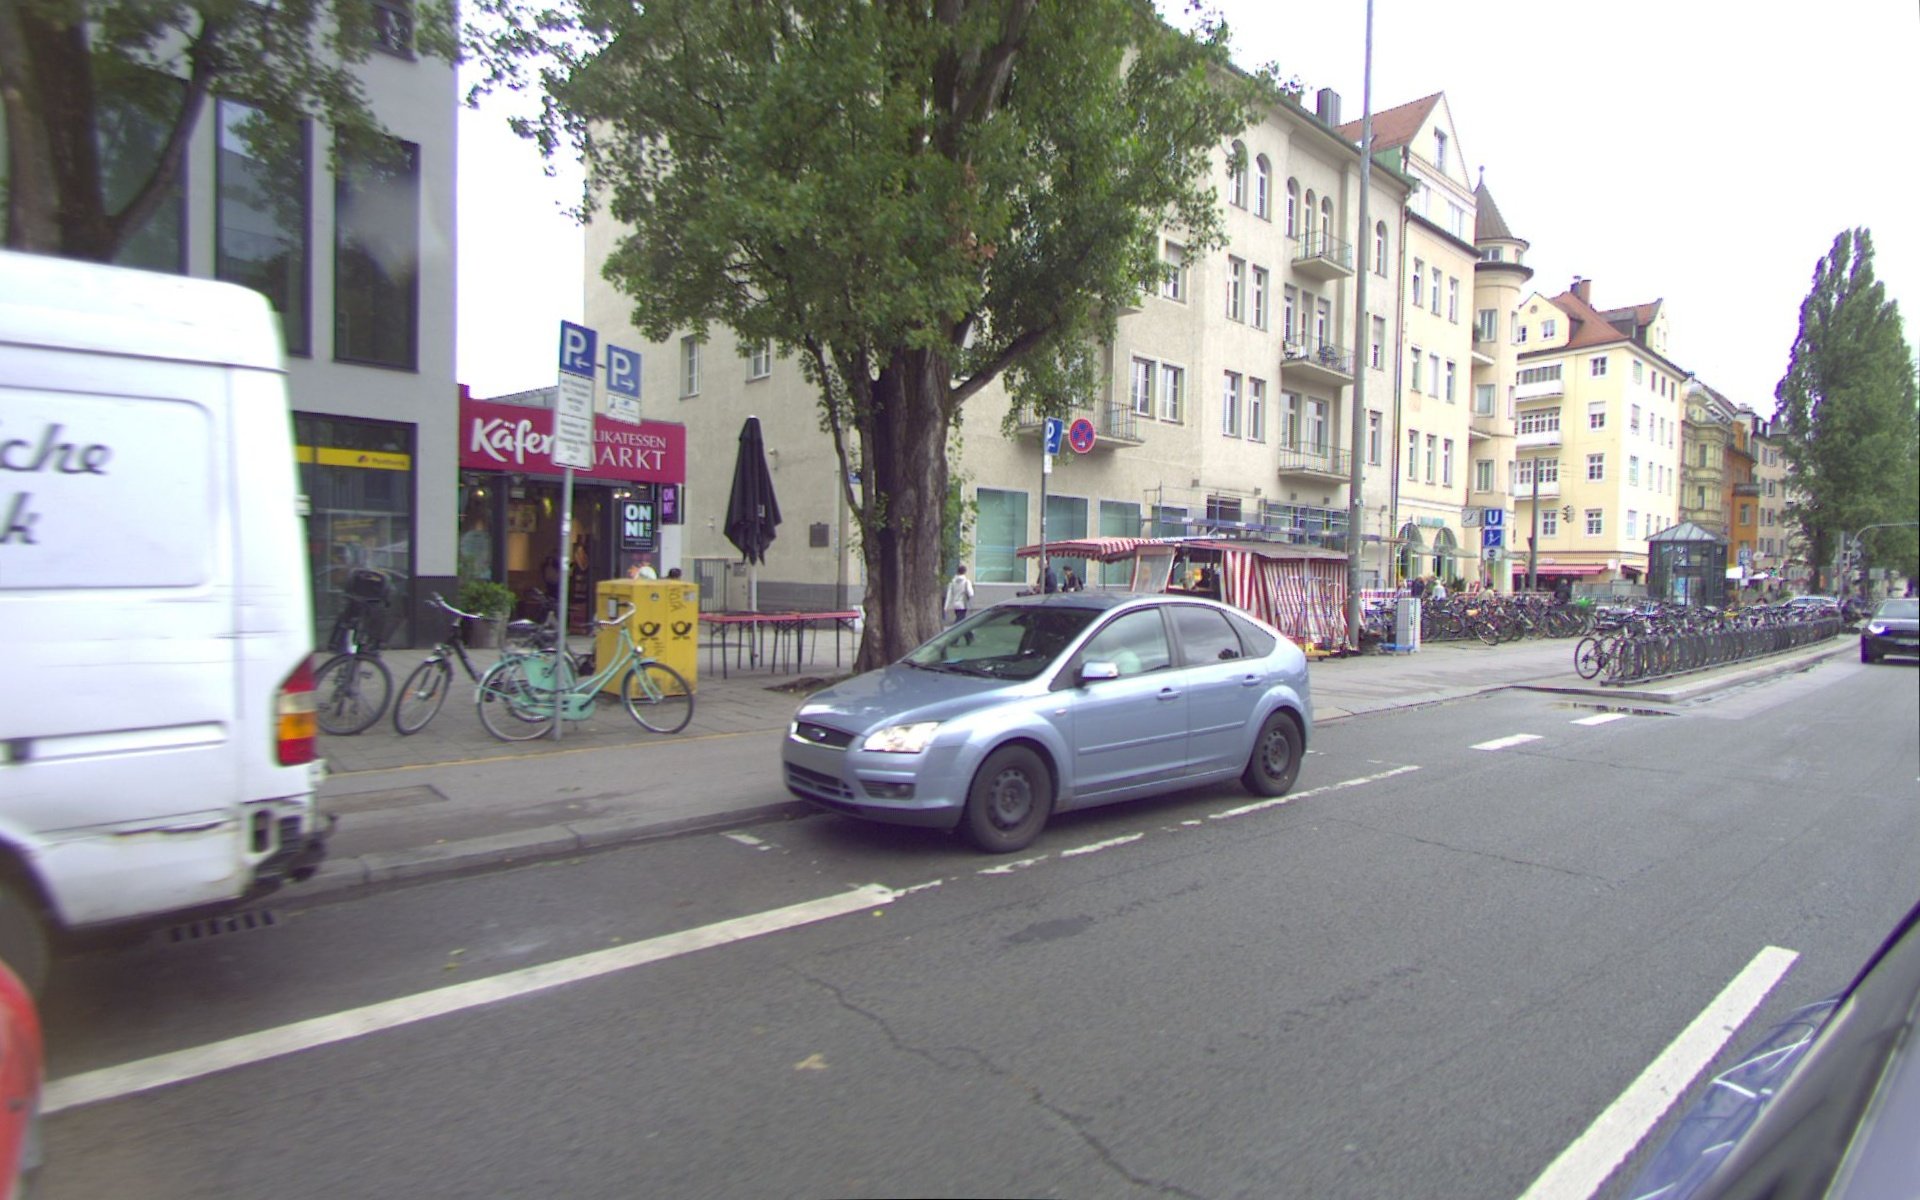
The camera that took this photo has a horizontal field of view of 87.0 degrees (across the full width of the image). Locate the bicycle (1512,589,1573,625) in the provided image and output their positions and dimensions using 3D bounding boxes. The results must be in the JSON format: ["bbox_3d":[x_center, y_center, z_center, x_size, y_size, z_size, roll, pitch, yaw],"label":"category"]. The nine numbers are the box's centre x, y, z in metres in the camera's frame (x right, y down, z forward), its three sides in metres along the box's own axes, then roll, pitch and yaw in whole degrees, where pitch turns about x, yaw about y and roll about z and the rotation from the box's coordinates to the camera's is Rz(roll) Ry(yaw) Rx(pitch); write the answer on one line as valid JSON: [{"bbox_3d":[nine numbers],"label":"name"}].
[{"bbox_3d":[19.123,0.224,33.257,0.403,1.091,1.651,0,3,-39],"label":"bicycle"}]

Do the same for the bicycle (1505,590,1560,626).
[{"bbox_3d":[18.350,0.244,32.471,1.448,1.091,0.404,4,3,43],"label":"bicycle"}]

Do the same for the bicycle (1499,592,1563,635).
[{"bbox_3d":[15.614,0.363,27.700,1.446,1.091,0.404,4,3,40],"label":"bicycle"}]

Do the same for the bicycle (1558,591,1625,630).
[{"bbox_3d":[19.459,0.313,31.200,0.403,1.091,1.653,0,3,-43],"label":"bicycle"}]

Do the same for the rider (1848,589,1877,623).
[{"bbox_3d":[34.792,0.232,39.031,0.721,1.256,0.730,-1,4,-45],"label":"rider"}]

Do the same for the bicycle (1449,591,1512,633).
[{"bbox_3d":[14.928,0.329,29.054,1.530,1.091,0.404,4,3,41],"label":"bicycle"}]

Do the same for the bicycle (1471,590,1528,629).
[{"bbox_3d":[16.463,0.284,30.921,1.446,1.091,0.404,4,3,40],"label":"bicycle"}]

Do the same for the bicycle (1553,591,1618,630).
[{"bbox_3d":[19.102,0.320,30.932,0.403,1.091,1.603,0,3,-43],"label":"bicycle"}]

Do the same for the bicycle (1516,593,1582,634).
[{"bbox_3d":[16.837,0.371,28.939,0.403,1.091,1.537,0,3,-43],"label":"bicycle"}]

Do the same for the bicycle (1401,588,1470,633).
[{"bbox_3d":[12.966,0.262,27.624,1.626,1.116,0.404,4,3,39],"label":"bicycle"}]

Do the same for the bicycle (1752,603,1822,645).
[{"bbox_3d":[22.022,0.640,26.988,0.390,1.073,1.850,0,-2,3],"label":"bicycle"}]

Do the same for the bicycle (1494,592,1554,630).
[{"bbox_3d":[17.452,0.321,31.344,0.403,1.091,1.528,0,3,-43],"label":"bicycle"}]

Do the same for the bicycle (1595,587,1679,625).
[{"bbox_3d":[23.869,0.187,35.727,0.617,1.242,2.343,0,2,-39],"label":"bicycle"}]

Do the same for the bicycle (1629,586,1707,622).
[{"bbox_3d":[26.532,0.147,37.962,0.617,1.242,2.318,0,2,-39],"label":"bicycle"}]

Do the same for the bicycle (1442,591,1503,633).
[{"bbox_3d":[14.491,0.339,28.642,1.446,1.091,0.404,4,3,40],"label":"bicycle"}]

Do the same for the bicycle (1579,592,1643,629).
[{"bbox_3d":[20.413,0.328,31.743,1.727,1.091,0.410,2,2,-2],"label":"bicycle"}]

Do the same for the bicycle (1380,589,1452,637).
[{"bbox_3d":[11.625,0.318,25.852,0.403,1.116,1.633,0,3,-39],"label":"bicycle"}]

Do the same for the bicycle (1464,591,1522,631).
[{"bbox_3d":[15.771,0.307,29.961,1.446,1.091,0.404,4,3,40],"label":"bicycle"}]

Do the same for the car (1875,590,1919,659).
[{"bbox_3d":[22.398,0.538,23.271,3.983,1.488,1.737,0,1,-44],"label":"car"}]

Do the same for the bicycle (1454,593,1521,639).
[{"bbox_3d":[13.705,0.400,26.326,0.402,1.091,1.483,0,3,-37],"label":"bicycle"}]

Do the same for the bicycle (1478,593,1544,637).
[{"bbox_3d":[14.663,0.383,26.946,1.446,1.091,0.404,4,3,40],"label":"bicycle"}]

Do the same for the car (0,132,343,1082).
[{"bbox_3d":[-4.860,0.041,2.502,5.457,2.776,1.997,-1,1,-41],"label":"car"}]

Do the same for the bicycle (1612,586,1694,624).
[{"bbox_3d":[25.130,0.160,36.751,0.617,1.242,2.343,0,2,-39],"label":"bicycle"}]

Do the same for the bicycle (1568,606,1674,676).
[{"bbox_3d":[10.519,0.643,16.164,0.536,1.068,1.577,0,-2,-4],"label":"bicycle"}]

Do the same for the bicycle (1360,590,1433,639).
[{"bbox_3d":[10.759,0.339,24.986,0.402,1.116,1.634,0,3,-37],"label":"bicycle"}]

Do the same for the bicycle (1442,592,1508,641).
[{"bbox_3d":[12.709,0.396,25.007,0.402,1.091,1.477,0,3,-27],"label":"bicycle"}]

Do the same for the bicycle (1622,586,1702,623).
[{"bbox_3d":[25.970,0.141,37.476,0.617,1.242,2.330,0,2,-39],"label":"bicycle"}]

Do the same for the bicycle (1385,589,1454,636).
[{"bbox_3d":[11.948,0.306,26.359,0.402,1.116,1.636,0,3,-33],"label":"bicycle"}]

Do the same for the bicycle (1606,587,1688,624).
[{"bbox_3d":[24.482,0.176,36.095,0.617,1.242,2.318,0,2,-39],"label":"bicycle"}]

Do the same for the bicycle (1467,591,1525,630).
[{"bbox_3d":[16.103,0.296,30.416,1.446,1.091,0.404,4,3,40],"label":"bicycle"}]

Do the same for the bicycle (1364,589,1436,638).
[{"bbox_3d":[11.055,0.328,25.479,0.403,1.116,1.633,0,3,-39],"label":"bicycle"}]

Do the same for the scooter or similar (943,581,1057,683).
[{"bbox_3d":[0.512,0.393,13.248,1.457,1.222,0.396,3,2,31],"label":"scooter or similar"}]

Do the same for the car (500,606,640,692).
[{"bbox_3d":[-4.500,0.539,11.744,1.471,0.915,0.367,0,2,-42],"label":"car"}]

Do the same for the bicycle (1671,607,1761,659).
[{"bbox_3d":[15.494,0.678,20.794,0.378,1.024,1.802,0,-2,-4],"label":"bicycle"}]

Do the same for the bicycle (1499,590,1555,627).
[{"bbox_3d":[17.980,0.253,32.098,1.448,1.091,0.404,4,3,43],"label":"bicycle"}]

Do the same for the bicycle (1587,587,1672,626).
[{"bbox_3d":[23.346,0.198,35.312,0.617,1.242,2.368,0,2,-39],"label":"bicycle"}]

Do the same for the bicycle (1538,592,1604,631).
[{"bbox_3d":[18.497,0.328,30.677,0.403,1.091,1.623,0,3,-43],"label":"bicycle"}]

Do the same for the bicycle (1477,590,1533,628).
[{"bbox_3d":[16.822,0.276,31.248,1.446,1.091,0.404,4,3,40],"label":"bicycle"}]

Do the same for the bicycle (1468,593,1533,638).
[{"bbox_3d":[14.150,0.394,26.528,0.402,1.091,1.454,0,3,-34],"label":"bicycle"}]

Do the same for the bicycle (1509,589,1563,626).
[{"bbox_3d":[18.672,0.235,32.829,1.448,1.091,0.404,4,3,43],"label":"bicycle"}]

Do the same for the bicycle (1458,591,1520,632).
[{"bbox_3d":[15.375,0.319,29.436,1.530,1.091,0.404,4,3,41],"label":"bicycle"}]

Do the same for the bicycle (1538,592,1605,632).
[{"bbox_3d":[18.123,0.343,30.008,0.402,1.091,1.639,0,3,-37],"label":"bicycle"}]

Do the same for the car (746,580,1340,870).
[{"bbox_3d":[0.747,0.627,7.087,4.071,1.472,1.729,0,0,-38],"label":"car"}]

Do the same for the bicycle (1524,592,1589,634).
[{"bbox_3d":[17.274,0.361,29.319,0.403,1.091,1.526,0,3,-43],"label":"bicycle"}]

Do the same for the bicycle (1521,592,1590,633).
[{"bbox_3d":[17.567,0.349,29.887,0.403,1.091,1.661,0,3,-40],"label":"bicycle"}]
